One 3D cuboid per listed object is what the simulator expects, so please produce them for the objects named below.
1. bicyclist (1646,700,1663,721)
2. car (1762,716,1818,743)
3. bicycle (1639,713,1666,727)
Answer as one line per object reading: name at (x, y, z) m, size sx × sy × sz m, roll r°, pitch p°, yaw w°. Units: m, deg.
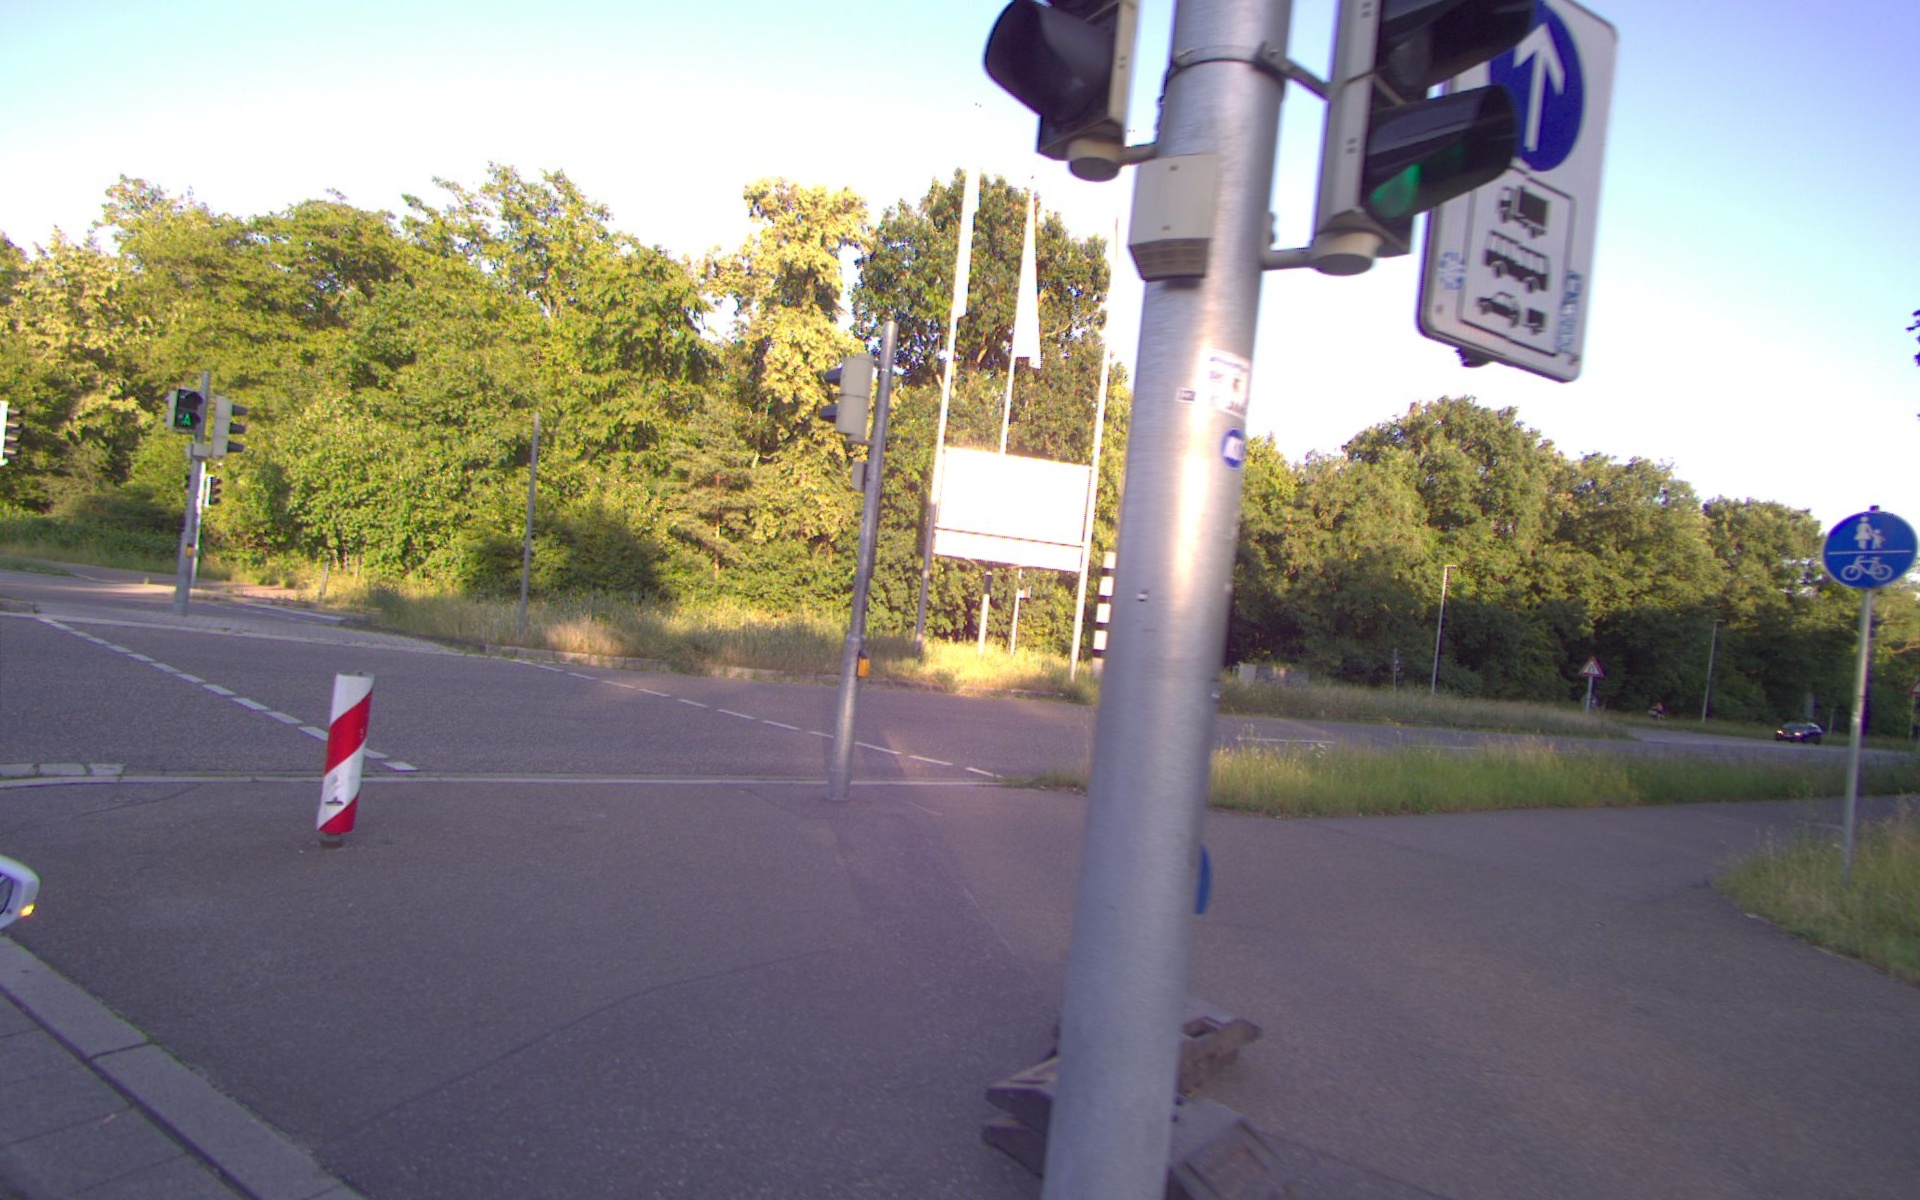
bicyclist at (52.151, 8.268, 75.555) m, size 0.810 × 1.447 × 0.585 m, roll 6°, pitch 0°, yaw -19°
car at (59.256, 9.245, 71.807) m, size 4.412 × 1.551 × 1.810 m, roll 8°, pitch -3°, yaw -34°
bicycle at (52.013, 8.991, 75.571) m, size 1.930 × 0.814 × 0.585 m, roll 7°, pitch -1°, yaw -19°
